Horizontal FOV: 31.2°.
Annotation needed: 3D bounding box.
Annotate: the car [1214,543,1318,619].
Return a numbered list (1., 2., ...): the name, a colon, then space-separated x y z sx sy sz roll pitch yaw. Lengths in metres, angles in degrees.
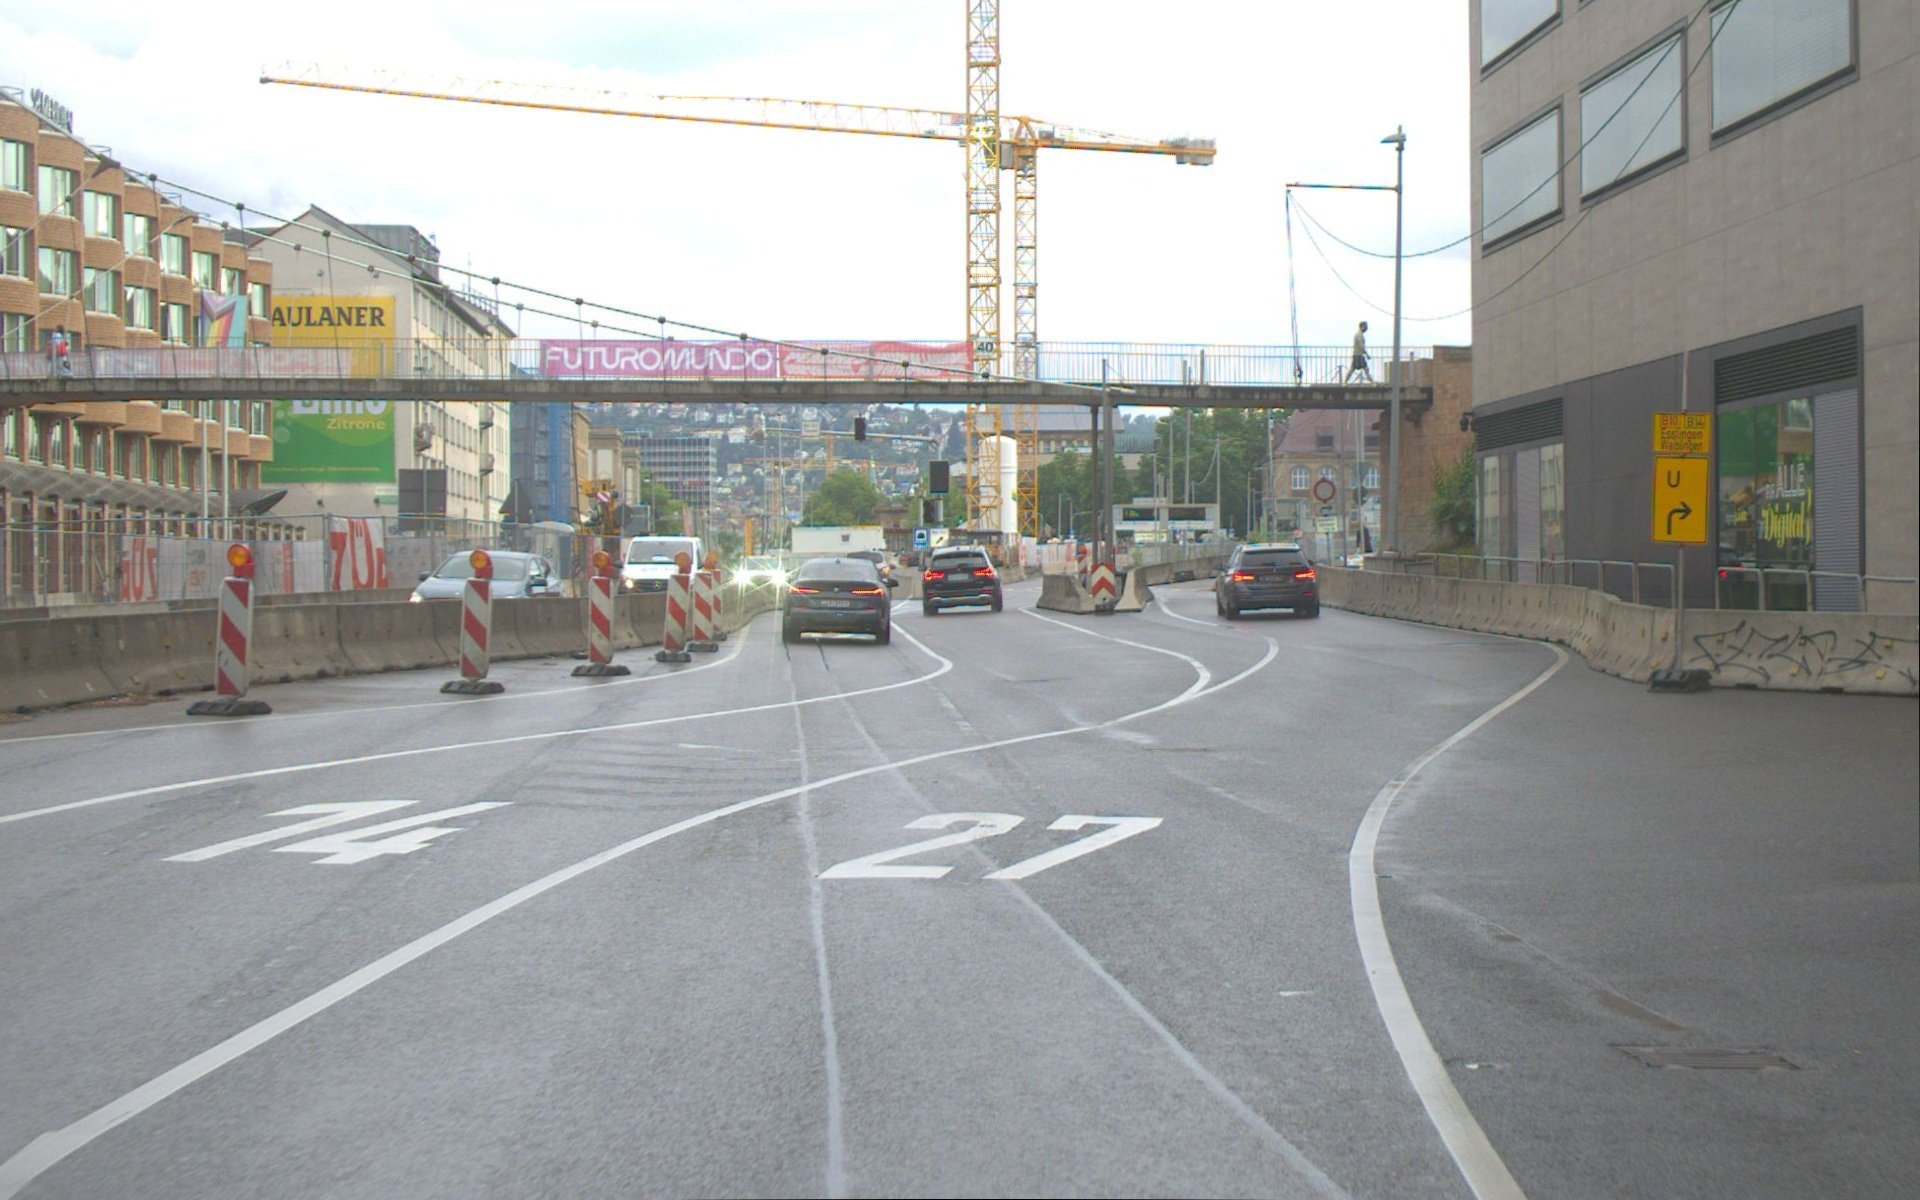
1. car: 5.995 -0.401 67.823 1.863 1.428 4.656 0 1 3

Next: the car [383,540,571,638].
1. car: -7.423 -0.198 53.207 1.994 1.454 4.228 0 1 5

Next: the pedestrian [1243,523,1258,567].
1. pedestrian: 13.318 -2.509 157.391 0.626 2.007 0.663 0 1 10

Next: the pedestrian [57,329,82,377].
1. pedestrian: -22.883 -6.345 88.390 0.475 1.190 0.484 -1 1 2

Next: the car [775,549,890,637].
1. car: -2.159 -0.150 58.426 1.863 1.438 4.657 0 1 -2

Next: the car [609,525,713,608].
1. car: -6.968 -0.802 80.513 1.993 1.878 4.870 0 1 0

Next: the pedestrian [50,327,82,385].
1. pedestrian: -22.978 -6.277 88.399 0.620 1.447 0.618 -1 1 2

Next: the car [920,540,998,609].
1. car: -0.047 -0.648 84.446 1.863 1.655 4.656 0 1 0

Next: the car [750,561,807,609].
1. car: -6.671 -0.566 126.742 1.993 1.617 4.703 -1 2 -2

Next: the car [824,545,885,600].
1. car: -3.486 -0.934 112.946 1.862 1.759 4.657 0 1 -3

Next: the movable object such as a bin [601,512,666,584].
1. movable object such as a bin: -11.093 -1.757 116.959 2.026 2.269 4.294 -4 1 -5
